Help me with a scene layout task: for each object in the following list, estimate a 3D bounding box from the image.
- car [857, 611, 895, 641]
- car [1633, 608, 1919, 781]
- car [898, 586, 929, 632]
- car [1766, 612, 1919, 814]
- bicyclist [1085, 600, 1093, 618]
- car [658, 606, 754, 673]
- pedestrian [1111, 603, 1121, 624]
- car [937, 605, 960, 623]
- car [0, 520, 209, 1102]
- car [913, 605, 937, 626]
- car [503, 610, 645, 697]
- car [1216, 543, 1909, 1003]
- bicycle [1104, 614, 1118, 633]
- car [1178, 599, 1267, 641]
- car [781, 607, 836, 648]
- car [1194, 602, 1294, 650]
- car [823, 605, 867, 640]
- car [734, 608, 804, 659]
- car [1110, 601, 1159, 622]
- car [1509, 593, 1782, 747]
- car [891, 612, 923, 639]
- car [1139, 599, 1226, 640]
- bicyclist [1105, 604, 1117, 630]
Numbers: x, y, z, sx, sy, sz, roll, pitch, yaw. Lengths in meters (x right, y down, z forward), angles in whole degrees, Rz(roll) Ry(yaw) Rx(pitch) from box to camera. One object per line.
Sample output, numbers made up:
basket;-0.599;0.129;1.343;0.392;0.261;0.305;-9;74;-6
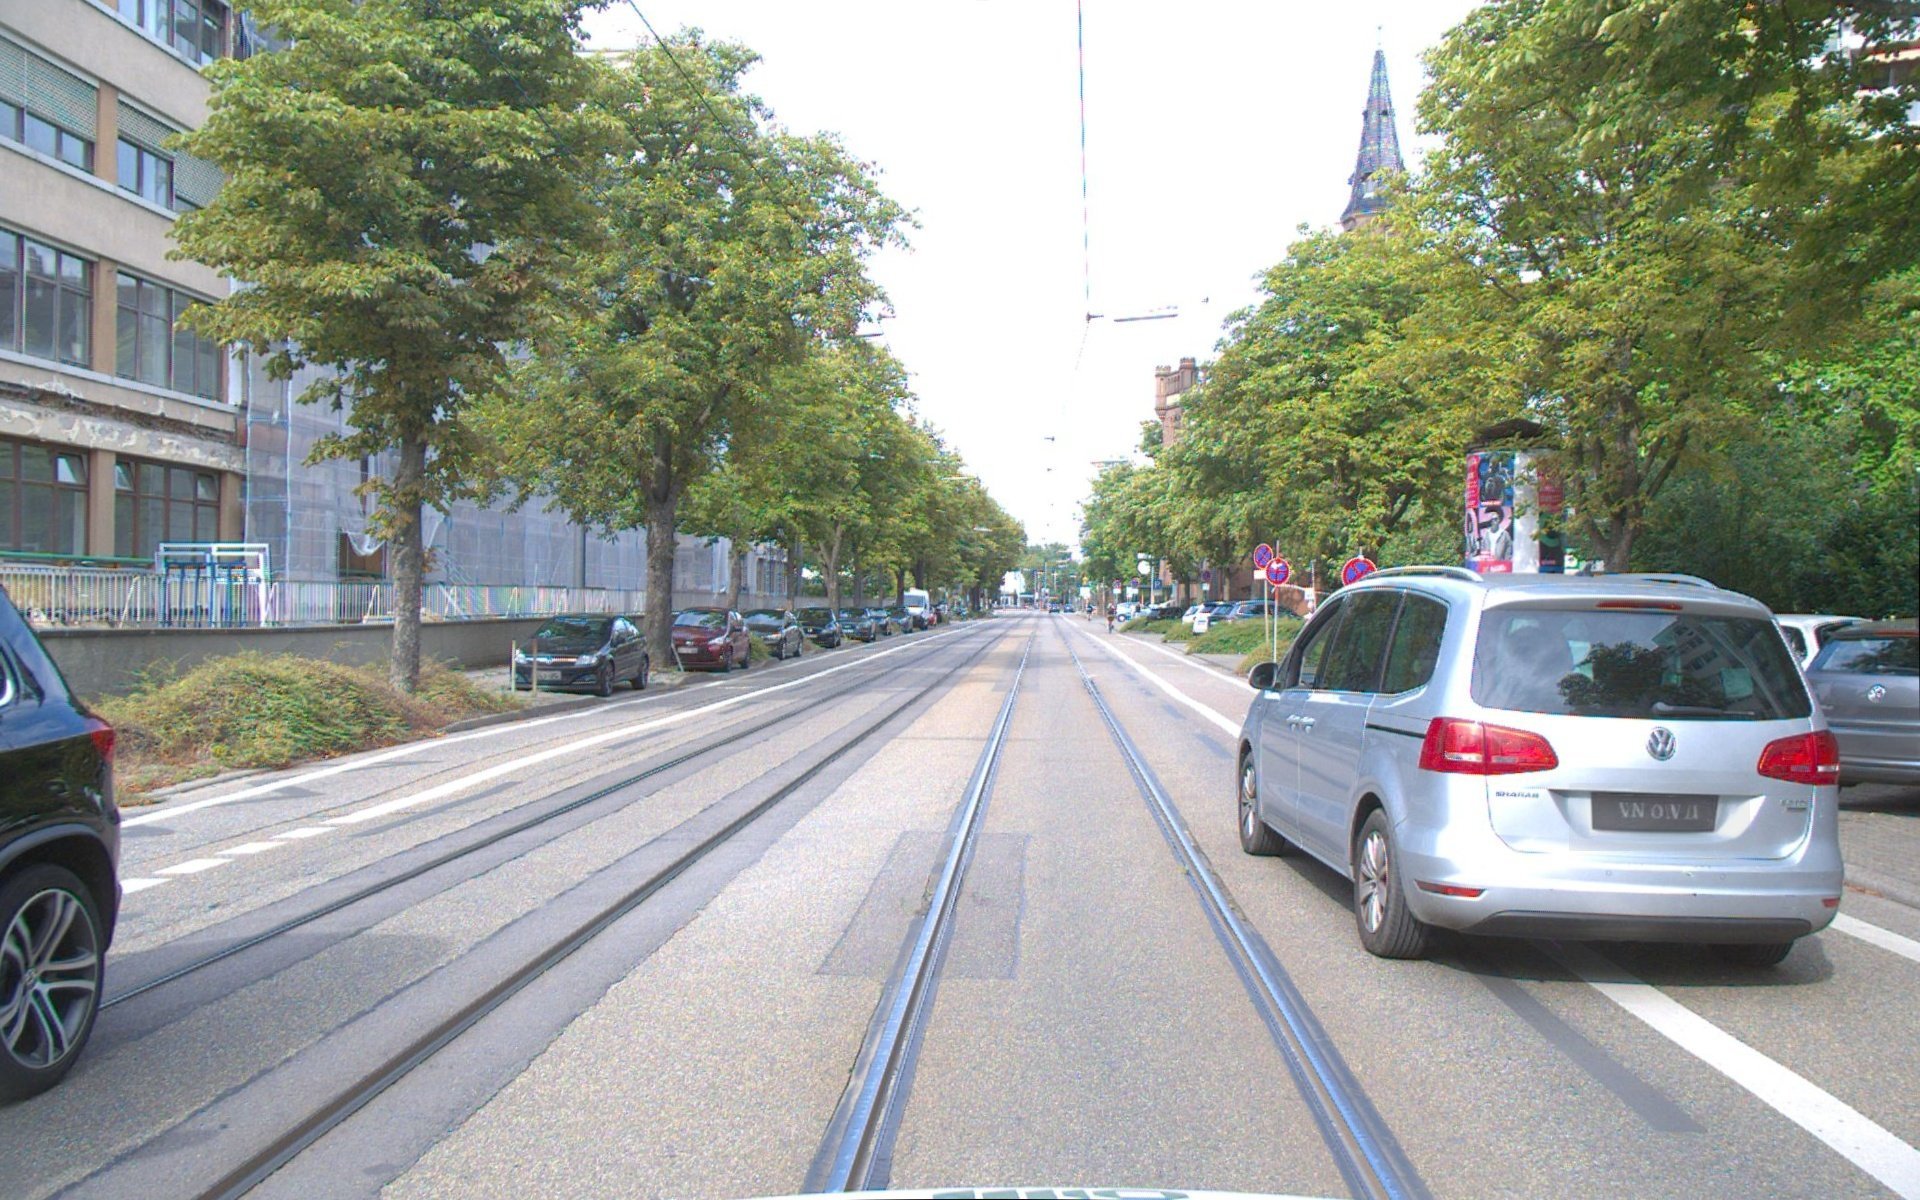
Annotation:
car;-4.061;1.244;80.305;1.558;1.427;3.963;1;0;1
car;8.340;0.853;16.208;3.608;1.500;1.660;1;-1;-37
car;-2.916;0.572;103.853;1.685;2.751;5.470;1;0;1
car;8.144;0.837;13.207;3.608;1.444;1.660;1;-1;-37
bicyclist;10.996;0.798;141.099;0.645;1.522;0.929;1;0;3
car;-6.128;0.927;40.313;1.602;1.522;3.963;1;0;2
pedestrian;13.347;1.164;141.443;0.732;1.821;0.731;0;-1;18
car;-0.885;1.082;129.223;1.557;1.427;3.551;1;0;3
car;-3.618;0.610;3.762;1.696;1.657;4.379;-1;0;2
car;-2.468;1.107;116.316;1.558;1.427;3.963;1;0;1
car;-6.844;0.910;29.668;1.558;1.427;3.963;1;0;1
car;2.654;0.658;8.585;1.775;1.730;4.615;1;0;-2
bicycle;8.636;1.359;94.638;0.580;1.062;1.978;1;0;0
car;10.376;0.784;65.248;3.617;1.630;1.655;1;-1;-43
car;-5.452;0.972;59.819;1.558;1.427;3.963;1;0;1
car;10.055;0.918;58.453;3.617;1.630;1.655;1;-1;-43
car;-4.848;0.934;70.106;1.558;1.427;3.963;1;0;1
car;-5.669;0.982;49.513;1.558;1.427;3.963;1;0;1
car;14.901;0.973;141.525;3.907;1.723;1.999;1;0;-3
car;8.113;0.769;19.443;3.617;1.630;1.655;1;-1;-43
car;-2.875;1.366;90.466;1.558;1.427;3.963;1;0;1
car;9.091;0.785;67.442;3.617;1.630;1.655;1;-1;-43
bicyclist;8.644;0.959;94.641;0.580;1.485;0.875;1;0;0
